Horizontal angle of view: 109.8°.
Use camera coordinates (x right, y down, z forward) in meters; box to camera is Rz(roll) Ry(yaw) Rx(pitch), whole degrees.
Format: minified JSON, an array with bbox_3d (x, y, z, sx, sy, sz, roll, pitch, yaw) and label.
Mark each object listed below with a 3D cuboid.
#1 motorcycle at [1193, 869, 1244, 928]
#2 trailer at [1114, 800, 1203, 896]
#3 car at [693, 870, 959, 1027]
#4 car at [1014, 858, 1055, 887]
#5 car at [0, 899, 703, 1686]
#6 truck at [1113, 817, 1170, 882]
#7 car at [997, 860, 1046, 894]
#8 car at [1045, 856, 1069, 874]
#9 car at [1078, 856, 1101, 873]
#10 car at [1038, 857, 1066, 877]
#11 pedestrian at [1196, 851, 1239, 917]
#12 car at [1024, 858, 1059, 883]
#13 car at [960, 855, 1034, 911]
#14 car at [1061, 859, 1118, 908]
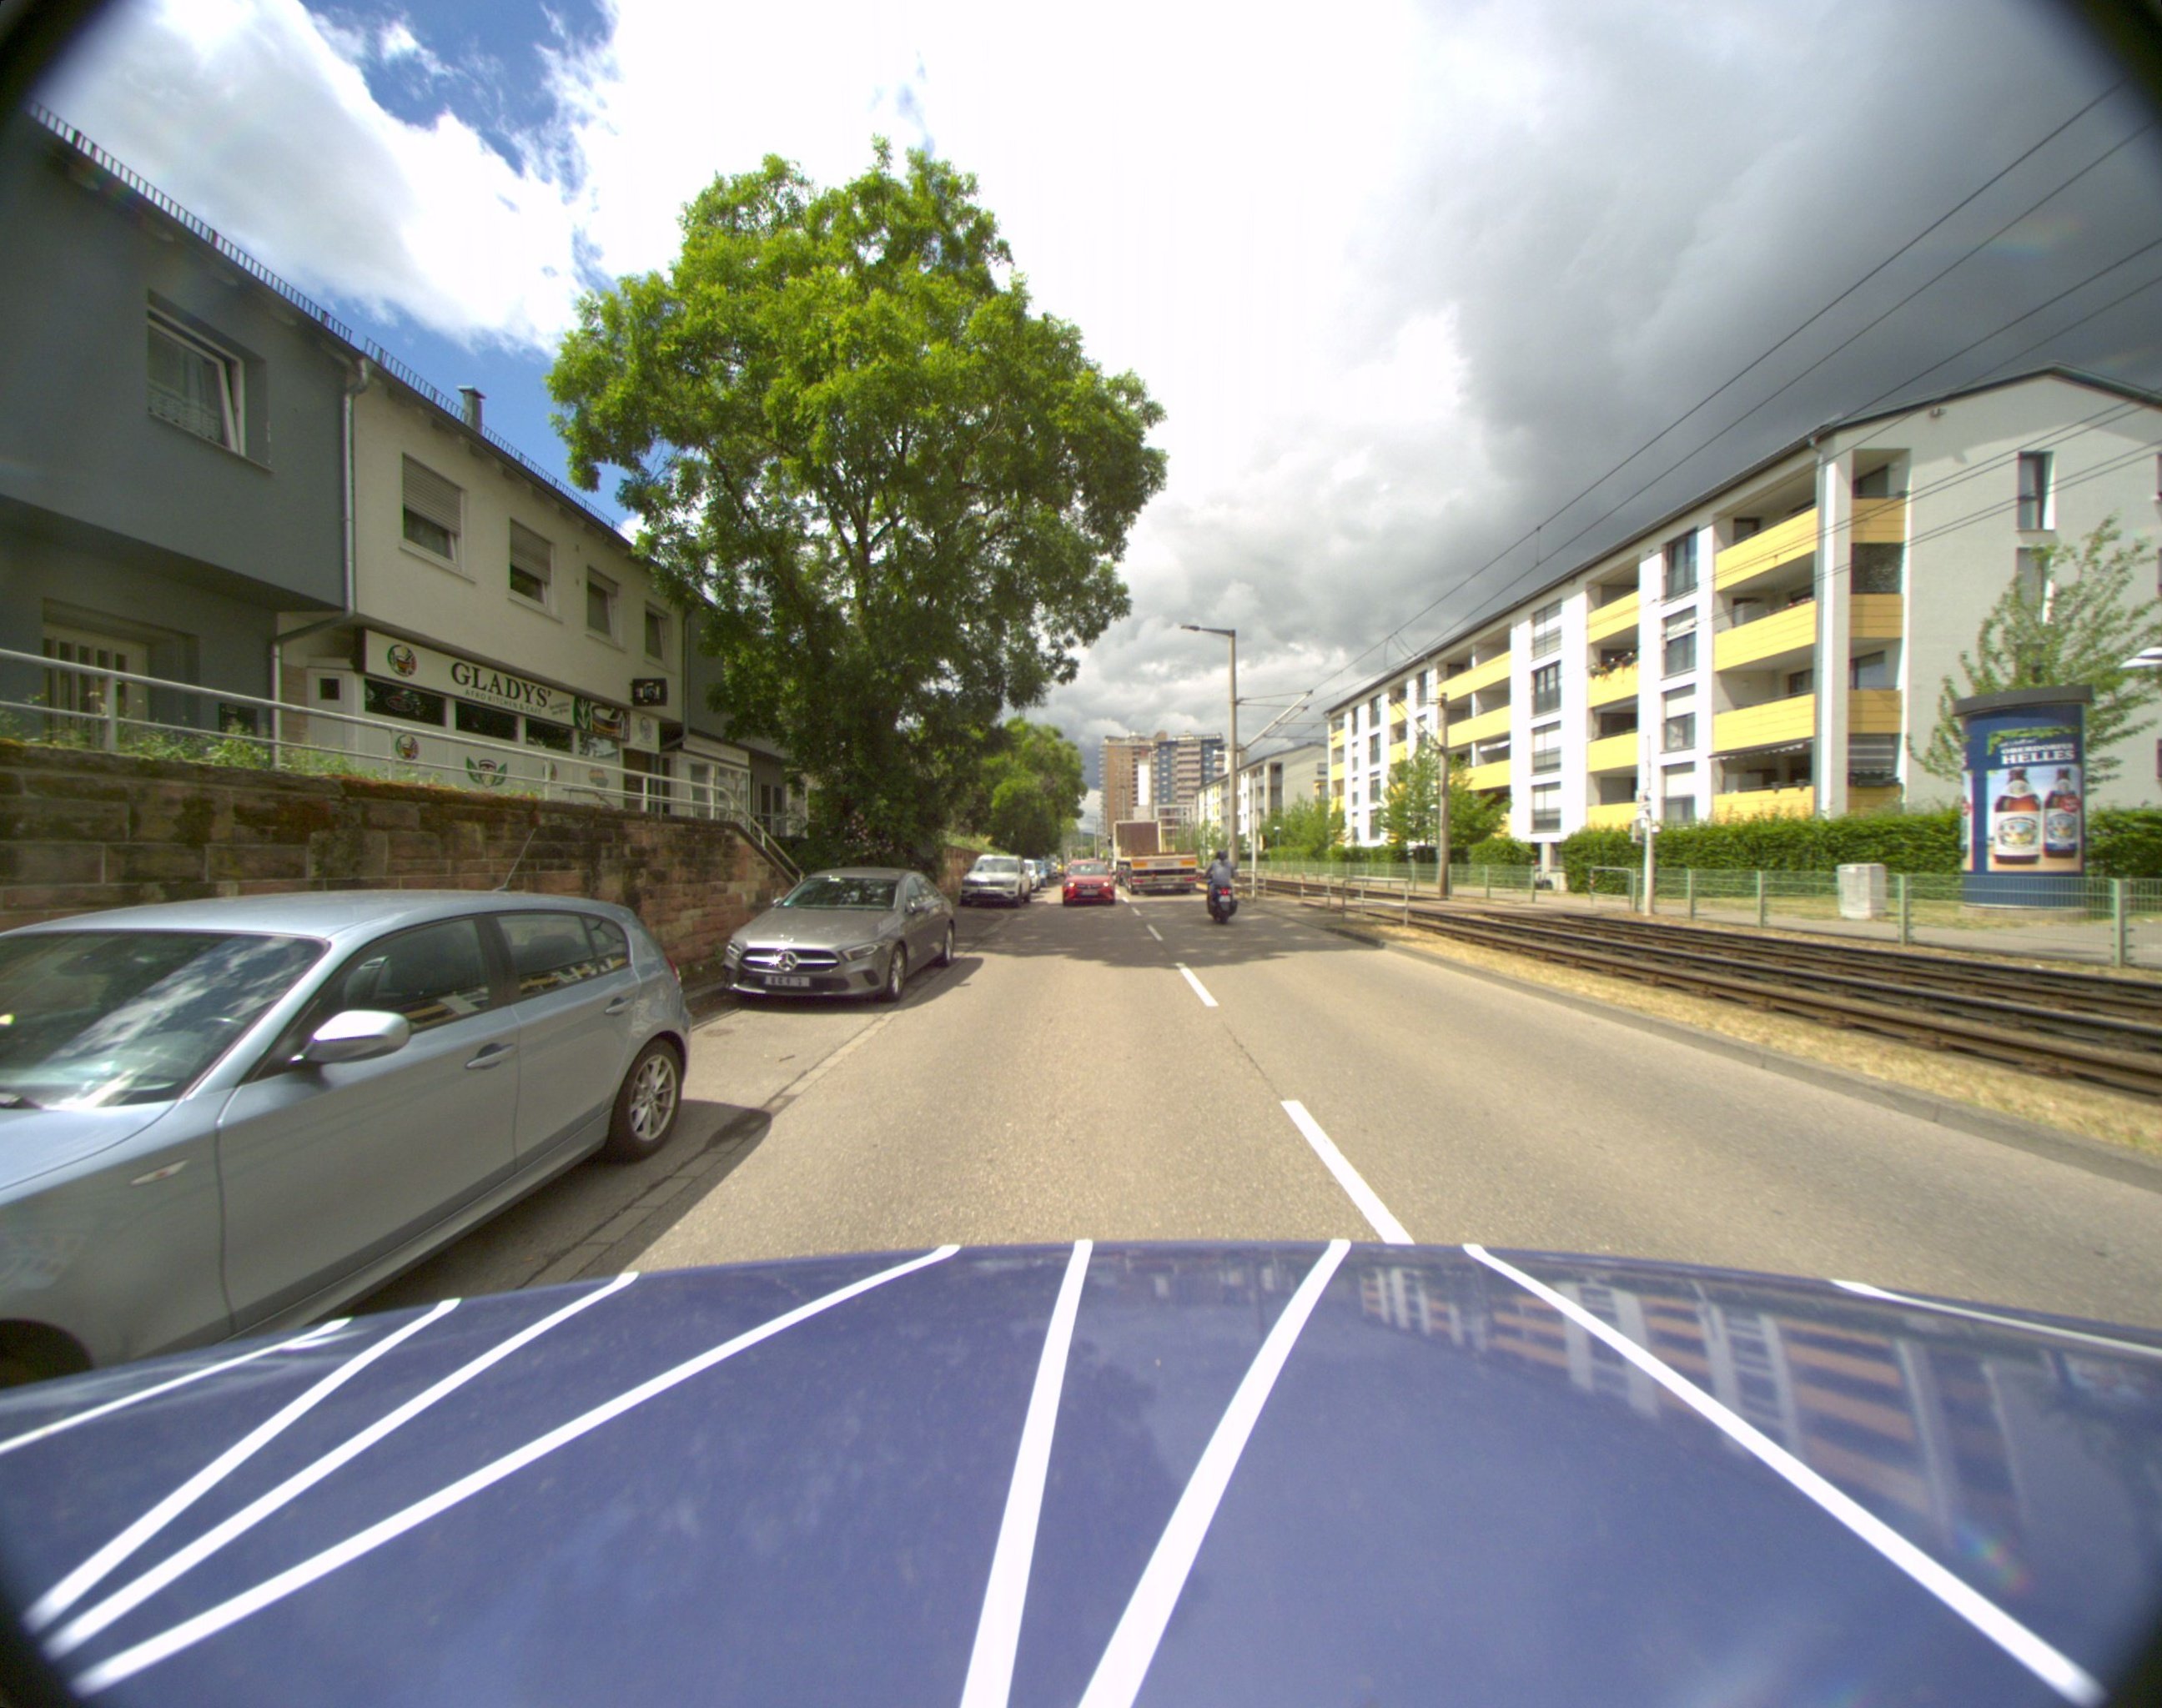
[{"bbox_3d":[3.063,0.967,17.072,0.783,1.181,1.869,-2,0,0],"label":"motorcycle"},{"bbox_3d":[3.196,-0.249,35.574,2.875,3.428,14.616,-3,0,1],"label":"trailer"},{"bbox_3d":[-2.824,0.967,9.478,1.784,1.420,4.148,0,0,2],"label":"car"},{"bbox_3d":[-2.490,0.984,41.728,1.784,1.420,4.148,-1,0,2],"label":"car"},{"bbox_3d":[-3.137,1.002,2.438,1.785,1.420,4.144,1,0,0],"label":"car"},{"bbox_3d":[3.414,-0.274,43.951,2.852,3.428,4.415,-3,0,1],"label":"truck"},{"bbox_3d":[-2.680,1.000,35.242,1.784,1.420,4.148,-1,0,2],"label":"car"},{"bbox_3d":[-2.065,0.949,65.858,1.784,1.420,4.148,-1,0,2],"label":"car"},{"bbox_3d":[0.800,1.018,74.078,1.927,1.543,3.999,-3,0,-2],"label":"car"},{"bbox_3d":[-2.220,0.982,58.953,1.784,1.420,4.148,-1,0,2],"label":"car"},{"bbox_3d":[3.048,0.654,16.998,0.737,1.408,0.927,-3,1,0],"label":"pedestrian"},{"bbox_3d":[-2.366,0.983,46.803,1.784,1.420,4.148,-1,0,2],"label":"car"},{"bbox_3d":[-2.652,0.867,24.935,1.819,1.643,4.148,1,0,2],"label":"car"},{"bbox_3d":[0.373,0.929,25.831,1.723,1.434,4.001,-2,0,3],"label":"car"}]
